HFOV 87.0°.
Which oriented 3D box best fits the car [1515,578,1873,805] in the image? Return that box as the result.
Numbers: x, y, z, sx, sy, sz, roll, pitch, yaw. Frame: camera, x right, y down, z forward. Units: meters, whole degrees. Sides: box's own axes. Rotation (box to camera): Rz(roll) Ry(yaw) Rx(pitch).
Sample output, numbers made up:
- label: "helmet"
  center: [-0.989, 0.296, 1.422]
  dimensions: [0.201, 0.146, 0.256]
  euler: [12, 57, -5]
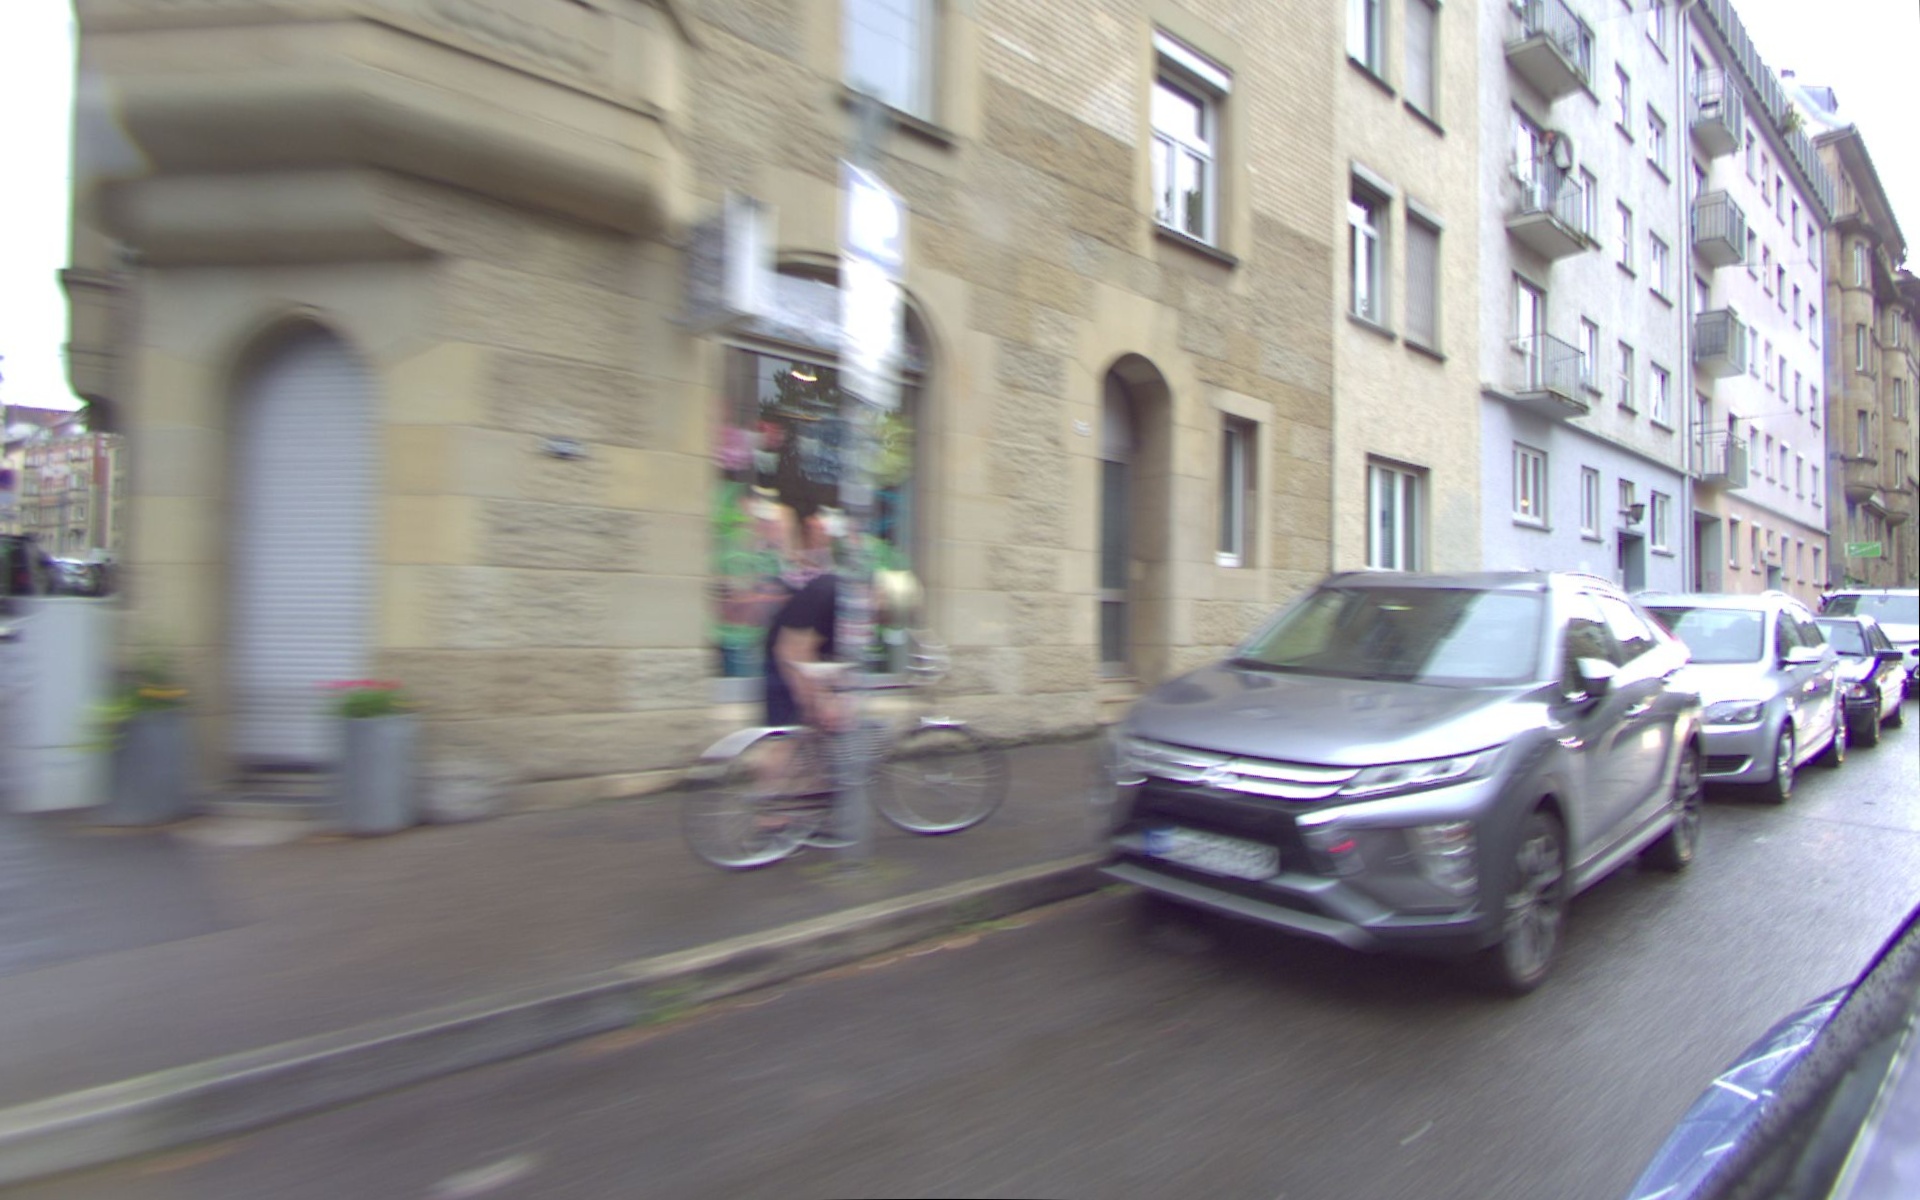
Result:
- label: "car"
  center: [6.536, 0.623, 8.857]
  dimensions: [3.930, 1.549, 1.696]
  euler: [0, 0, -41]

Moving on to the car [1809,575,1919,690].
- label: "car"
  center: [16.283, 0.506, 17.410]
  dimensions: [4.387, 1.772, 1.832]
  euler: [0, 0, -40]

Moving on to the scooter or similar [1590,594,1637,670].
- label: "scooter or similar"
  center: [11.599, 0.552, 17.947]
  dimensions: [1.151, 1.313, 0.388]
  euler: [0, 0, -41]

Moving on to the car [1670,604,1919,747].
- label: "car"
  center: [9.959, 0.739, 11.885]
  dimensions: [4.385, 1.364, 1.720]
  euler: [0, -1, -42]

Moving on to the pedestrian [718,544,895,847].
- label: "pedestrian"
  center: [-0.746, 0.431, 5.039]
  dimensions: [0.663, 1.387, 0.638]
  euler: [0, 0, 18]

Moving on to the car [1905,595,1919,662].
- label: "car"
  center: [23.422, 0.655, 23.459]
  dimensions: [4.819, 1.474, 1.874]
  euler: [0, 0, -43]

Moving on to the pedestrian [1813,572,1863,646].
- label: "pedestrian"
  center: [22.594, 0.218, 26.037]
  dimensions: [1.020, 1.856, 0.748]
  euler: [1, 2, -40]

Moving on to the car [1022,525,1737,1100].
- label: "car"
  center: [2.406, 0.628, 5.108]
  dimensions: [4.260, 1.689, 1.767]
  euler: [0, -1, -44]

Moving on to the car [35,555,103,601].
- label: "car"
  center: [-34.641, -0.847, 39.424]
  dimensions: [1.718, 1.714, 3.998]
  euler: [0, 1, -37]

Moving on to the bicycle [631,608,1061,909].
- label: "bicycle"
  center: [-0.459, 0.630, 4.904]
  dimensions: [2.090, 1.149, 0.622]
  euler: [0, 0, -41]

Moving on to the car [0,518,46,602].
- label: "car"
  center: [-25.149, -1.001, 26.102]
  dimensions: [1.963, 2.039, 4.325]
  euler: [0, 1, -37]
